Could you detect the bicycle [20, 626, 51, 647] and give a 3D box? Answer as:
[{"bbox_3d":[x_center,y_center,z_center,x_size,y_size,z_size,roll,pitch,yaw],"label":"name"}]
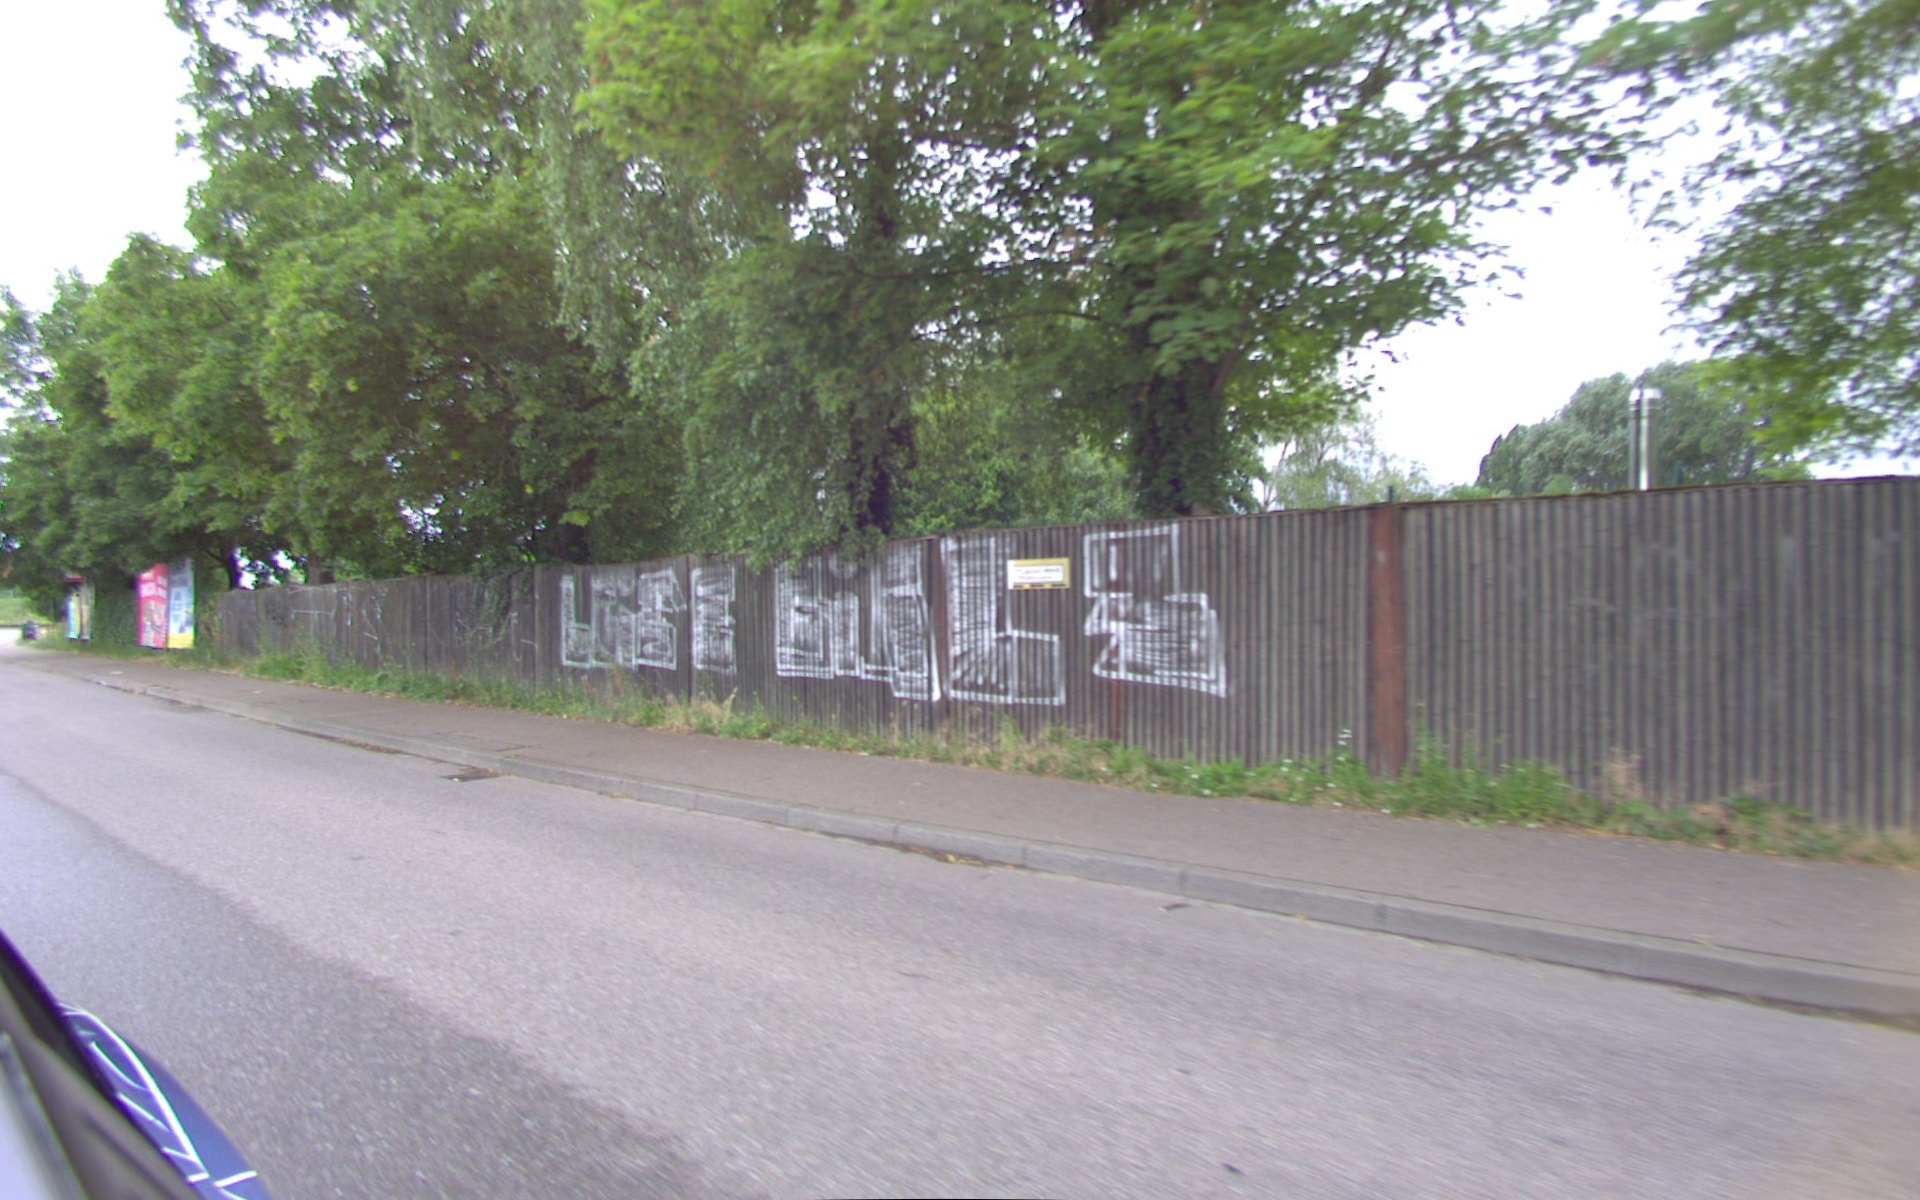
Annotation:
[{"bbox_3d":[-48.210,1.899,52.769,0.574,1.006,1.776,-3,1,-22],"label":"bicycle"}]
